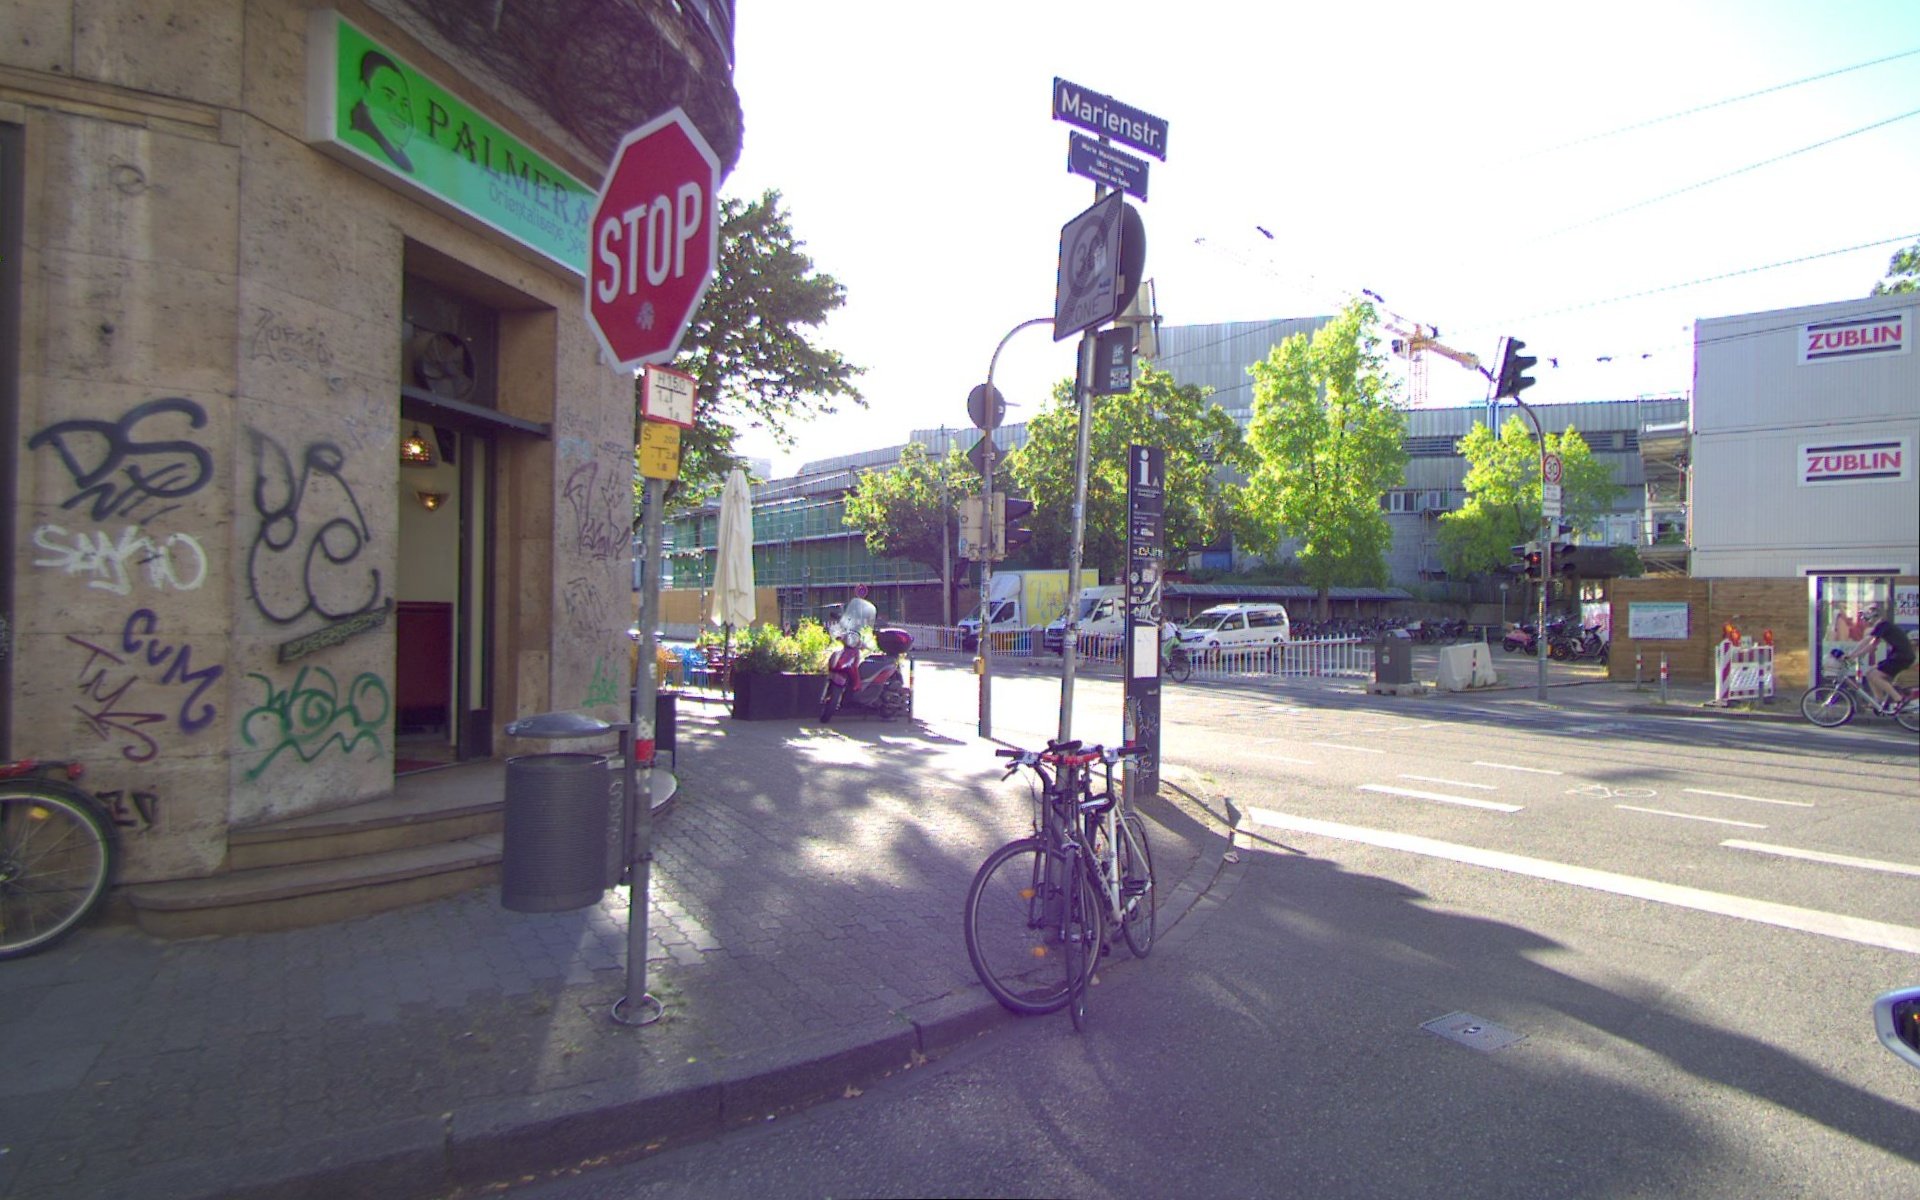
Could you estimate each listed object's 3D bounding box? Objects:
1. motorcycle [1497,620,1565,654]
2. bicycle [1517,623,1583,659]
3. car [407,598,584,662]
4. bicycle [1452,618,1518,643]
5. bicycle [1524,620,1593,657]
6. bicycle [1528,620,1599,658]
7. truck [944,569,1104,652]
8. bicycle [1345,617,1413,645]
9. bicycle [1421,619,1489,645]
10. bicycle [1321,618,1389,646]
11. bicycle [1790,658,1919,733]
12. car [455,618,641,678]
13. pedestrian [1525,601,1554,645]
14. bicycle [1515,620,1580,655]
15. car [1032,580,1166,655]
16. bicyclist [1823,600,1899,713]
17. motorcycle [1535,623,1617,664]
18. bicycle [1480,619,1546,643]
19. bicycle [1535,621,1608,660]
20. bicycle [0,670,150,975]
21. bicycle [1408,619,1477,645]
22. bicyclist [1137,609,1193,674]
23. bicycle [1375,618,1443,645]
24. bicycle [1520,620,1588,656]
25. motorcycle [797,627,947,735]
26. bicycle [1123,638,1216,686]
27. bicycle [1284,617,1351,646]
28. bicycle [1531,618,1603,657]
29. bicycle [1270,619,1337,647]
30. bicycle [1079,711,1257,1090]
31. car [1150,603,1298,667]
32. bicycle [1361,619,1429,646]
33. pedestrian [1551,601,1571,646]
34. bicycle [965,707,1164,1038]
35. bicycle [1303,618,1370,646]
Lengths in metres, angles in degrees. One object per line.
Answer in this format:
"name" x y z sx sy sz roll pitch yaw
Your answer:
"motorcycle" 21.729 1.413 38.248 2.168 1.274 0.543 0 0 18
"bicycle" 21.448 1.470 36.553 2.009 1.274 0.543 0 0 18
"car" -15.822 0.974 34.574 2.003 2.018 5.335 0 0 32
"bicycle" 25.919 1.477 49.655 0.810 1.163 3.070 0 -1 -25
"bicycle" 21.079 1.356 35.415 2.009 1.274 0.543 0 0 18
"bicycle" 20.676 1.333 34.430 2.009 1.274 0.471 0 0 18
"truck" 2.901 0.389 44.167 7.047 3.393 2.367 -1 1 -35
"bicycle" 18.782 1.369 45.120 0.810 1.163 3.070 0 -1 -25
"bicycle" 23.265 1.496 47.288 0.810 1.163 3.070 0 -1 -25
"bicycle" 17.421 1.396 44.382 0.810 1.163 3.070 0 -1 -25
"bicycle" 13.947 1.445 15.374 1.891 1.032 0.680 -1 -1 38
"car" -11.185 1.261 27.624 1.660 1.510 4.633 0 -1 32
"pedestrian" 27.205 1.081 47.150 0.926 2.040 0.798 0 0 -24
"bicycle" 21.689 1.385 37.098 2.009 1.274 0.543 0 0 18
"car" 5.483 0.630 39.161 5.331 2.565 1.979 -3 2 -38
"bicyclist" 13.848 0.854 15.458 0.799 1.680 0.680 0 -1 38
"motorcycle" 19.908 1.394 32.498 2.168 1.274 0.543 0 0 18
"bicycle" 28.255 1.547 51.413 0.810 1.163 3.070 0 -1 -25
"bicycle" 20.369 1.344 33.496 2.009 1.274 0.471 0 0 18
"bicycle" -4.028 0.826 3.681 1.571 1.106 0.396 1 -1 -28
"bicycle" 22.461 1.473 46.829 0.810 1.163 3.070 0 -1 -25
"bicyclist" 5.329 1.069 26.161 0.887 1.661 1.090 2 -1 -34
"bicycle" 20.502 1.418 45.943 0.810 1.163 3.070 0 -1 -25
"bicycle" 21.262 1.362 35.979 2.009 1.274 0.543 0 0 18
"motorcycle" -1.160 1.096 14.028 0.982 1.368 2.420 0 -3 25
"bicycle" 5.394 1.584 26.034 0.886 1.107 2.407 2 -2 -34
"bicycle" 15.437 1.340 43.440 0.810 1.163 3.070 0 -1 -25
"bicycle" 20.500 1.266 33.957 2.009 1.274 0.471 0 0 18
"bicycle" 14.616 1.389 42.892 0.810 1.163 3.070 0 -1 -25
"bicycle" 0.945 1.109 4.250 0.449 1.060 1.687 0 1 22
"car" 9.015 1.119 34.210 4.887 1.918 1.995 -2 1 -30
"bicycle" 19.692 1.438 45.589 0.810 1.163 3.070 0 -1 -25
"pedestrian" 27.651 1.086 46.200 0.789 2.040 1.028 0 0 32
"bicycle" 0.534 1.068 4.465 0.442 1.059 1.664 0 -2 22
"bicycle" 16.444 1.369 43.965 0.810 1.163 3.070 0 -1 -25
